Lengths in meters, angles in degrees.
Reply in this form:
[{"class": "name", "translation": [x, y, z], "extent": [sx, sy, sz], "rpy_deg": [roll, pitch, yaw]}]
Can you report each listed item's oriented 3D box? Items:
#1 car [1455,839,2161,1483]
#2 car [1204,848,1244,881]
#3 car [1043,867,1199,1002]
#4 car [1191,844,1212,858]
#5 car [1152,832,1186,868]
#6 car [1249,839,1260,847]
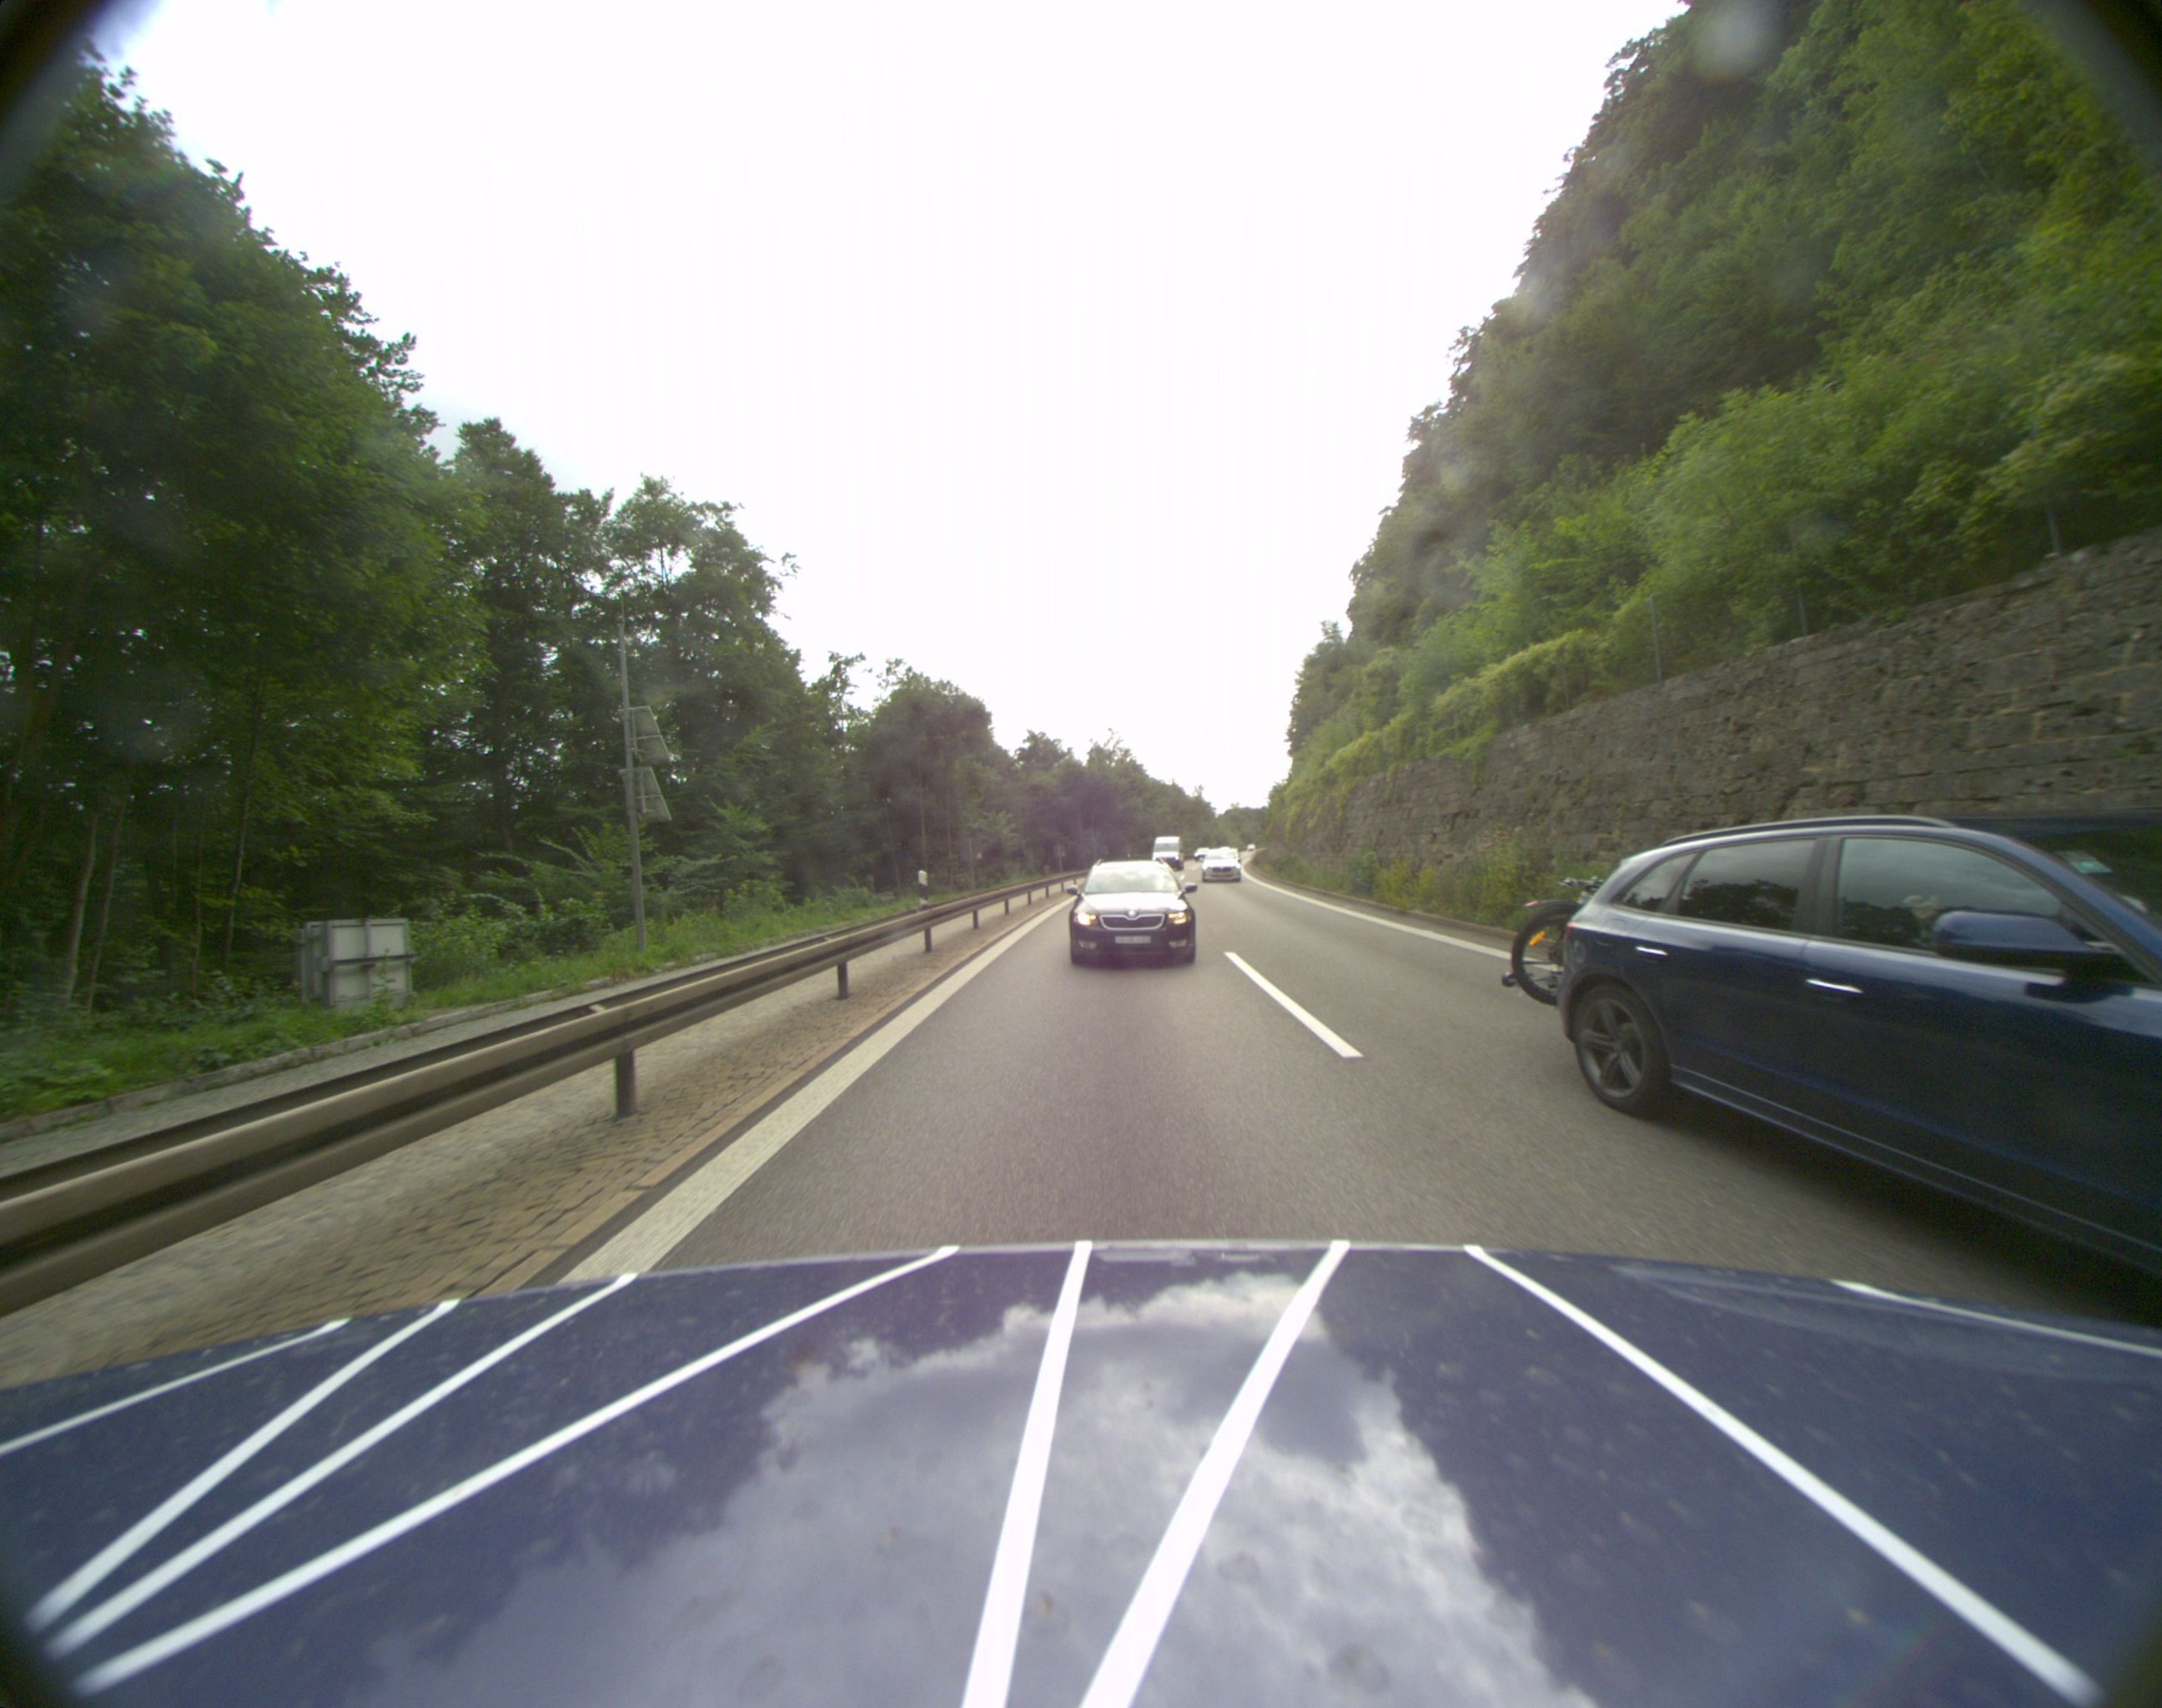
[{"class": "car", "translation": [3.853, 0.801, 3.084], "extent": [1.976, 1.584, 5.585], "rpy_deg": [-4, 1, 2]}, {"class": "car", "translation": [7.083, 0.503, 37.804], "extent": [1.822, 1.546, 4.003], "rpy_deg": [-1, 0, 10]}, {"class": "car", "translation": [0.573, 0.907, 10.417], "extent": [1.637, 1.384, 4.500], "rpy_deg": [-1, 0, 4]}, {"class": "car", "translation": [14.245, -0.314, 89.672], "extent": [1.821, 1.546, 4.005], "rpy_deg": [-1, 0, 18]}, {"class": "car", "translation": [6.797, -0.303, 58.186], "extent": [2.097, 2.547, 5.925], "rpy_deg": [-1, 0, 11]}, {"class": "car", "translation": [37.707, -2.367, 165.319], "extent": [1.820, 1.546, 4.006], "rpy_deg": [-1, 0, 19]}]
